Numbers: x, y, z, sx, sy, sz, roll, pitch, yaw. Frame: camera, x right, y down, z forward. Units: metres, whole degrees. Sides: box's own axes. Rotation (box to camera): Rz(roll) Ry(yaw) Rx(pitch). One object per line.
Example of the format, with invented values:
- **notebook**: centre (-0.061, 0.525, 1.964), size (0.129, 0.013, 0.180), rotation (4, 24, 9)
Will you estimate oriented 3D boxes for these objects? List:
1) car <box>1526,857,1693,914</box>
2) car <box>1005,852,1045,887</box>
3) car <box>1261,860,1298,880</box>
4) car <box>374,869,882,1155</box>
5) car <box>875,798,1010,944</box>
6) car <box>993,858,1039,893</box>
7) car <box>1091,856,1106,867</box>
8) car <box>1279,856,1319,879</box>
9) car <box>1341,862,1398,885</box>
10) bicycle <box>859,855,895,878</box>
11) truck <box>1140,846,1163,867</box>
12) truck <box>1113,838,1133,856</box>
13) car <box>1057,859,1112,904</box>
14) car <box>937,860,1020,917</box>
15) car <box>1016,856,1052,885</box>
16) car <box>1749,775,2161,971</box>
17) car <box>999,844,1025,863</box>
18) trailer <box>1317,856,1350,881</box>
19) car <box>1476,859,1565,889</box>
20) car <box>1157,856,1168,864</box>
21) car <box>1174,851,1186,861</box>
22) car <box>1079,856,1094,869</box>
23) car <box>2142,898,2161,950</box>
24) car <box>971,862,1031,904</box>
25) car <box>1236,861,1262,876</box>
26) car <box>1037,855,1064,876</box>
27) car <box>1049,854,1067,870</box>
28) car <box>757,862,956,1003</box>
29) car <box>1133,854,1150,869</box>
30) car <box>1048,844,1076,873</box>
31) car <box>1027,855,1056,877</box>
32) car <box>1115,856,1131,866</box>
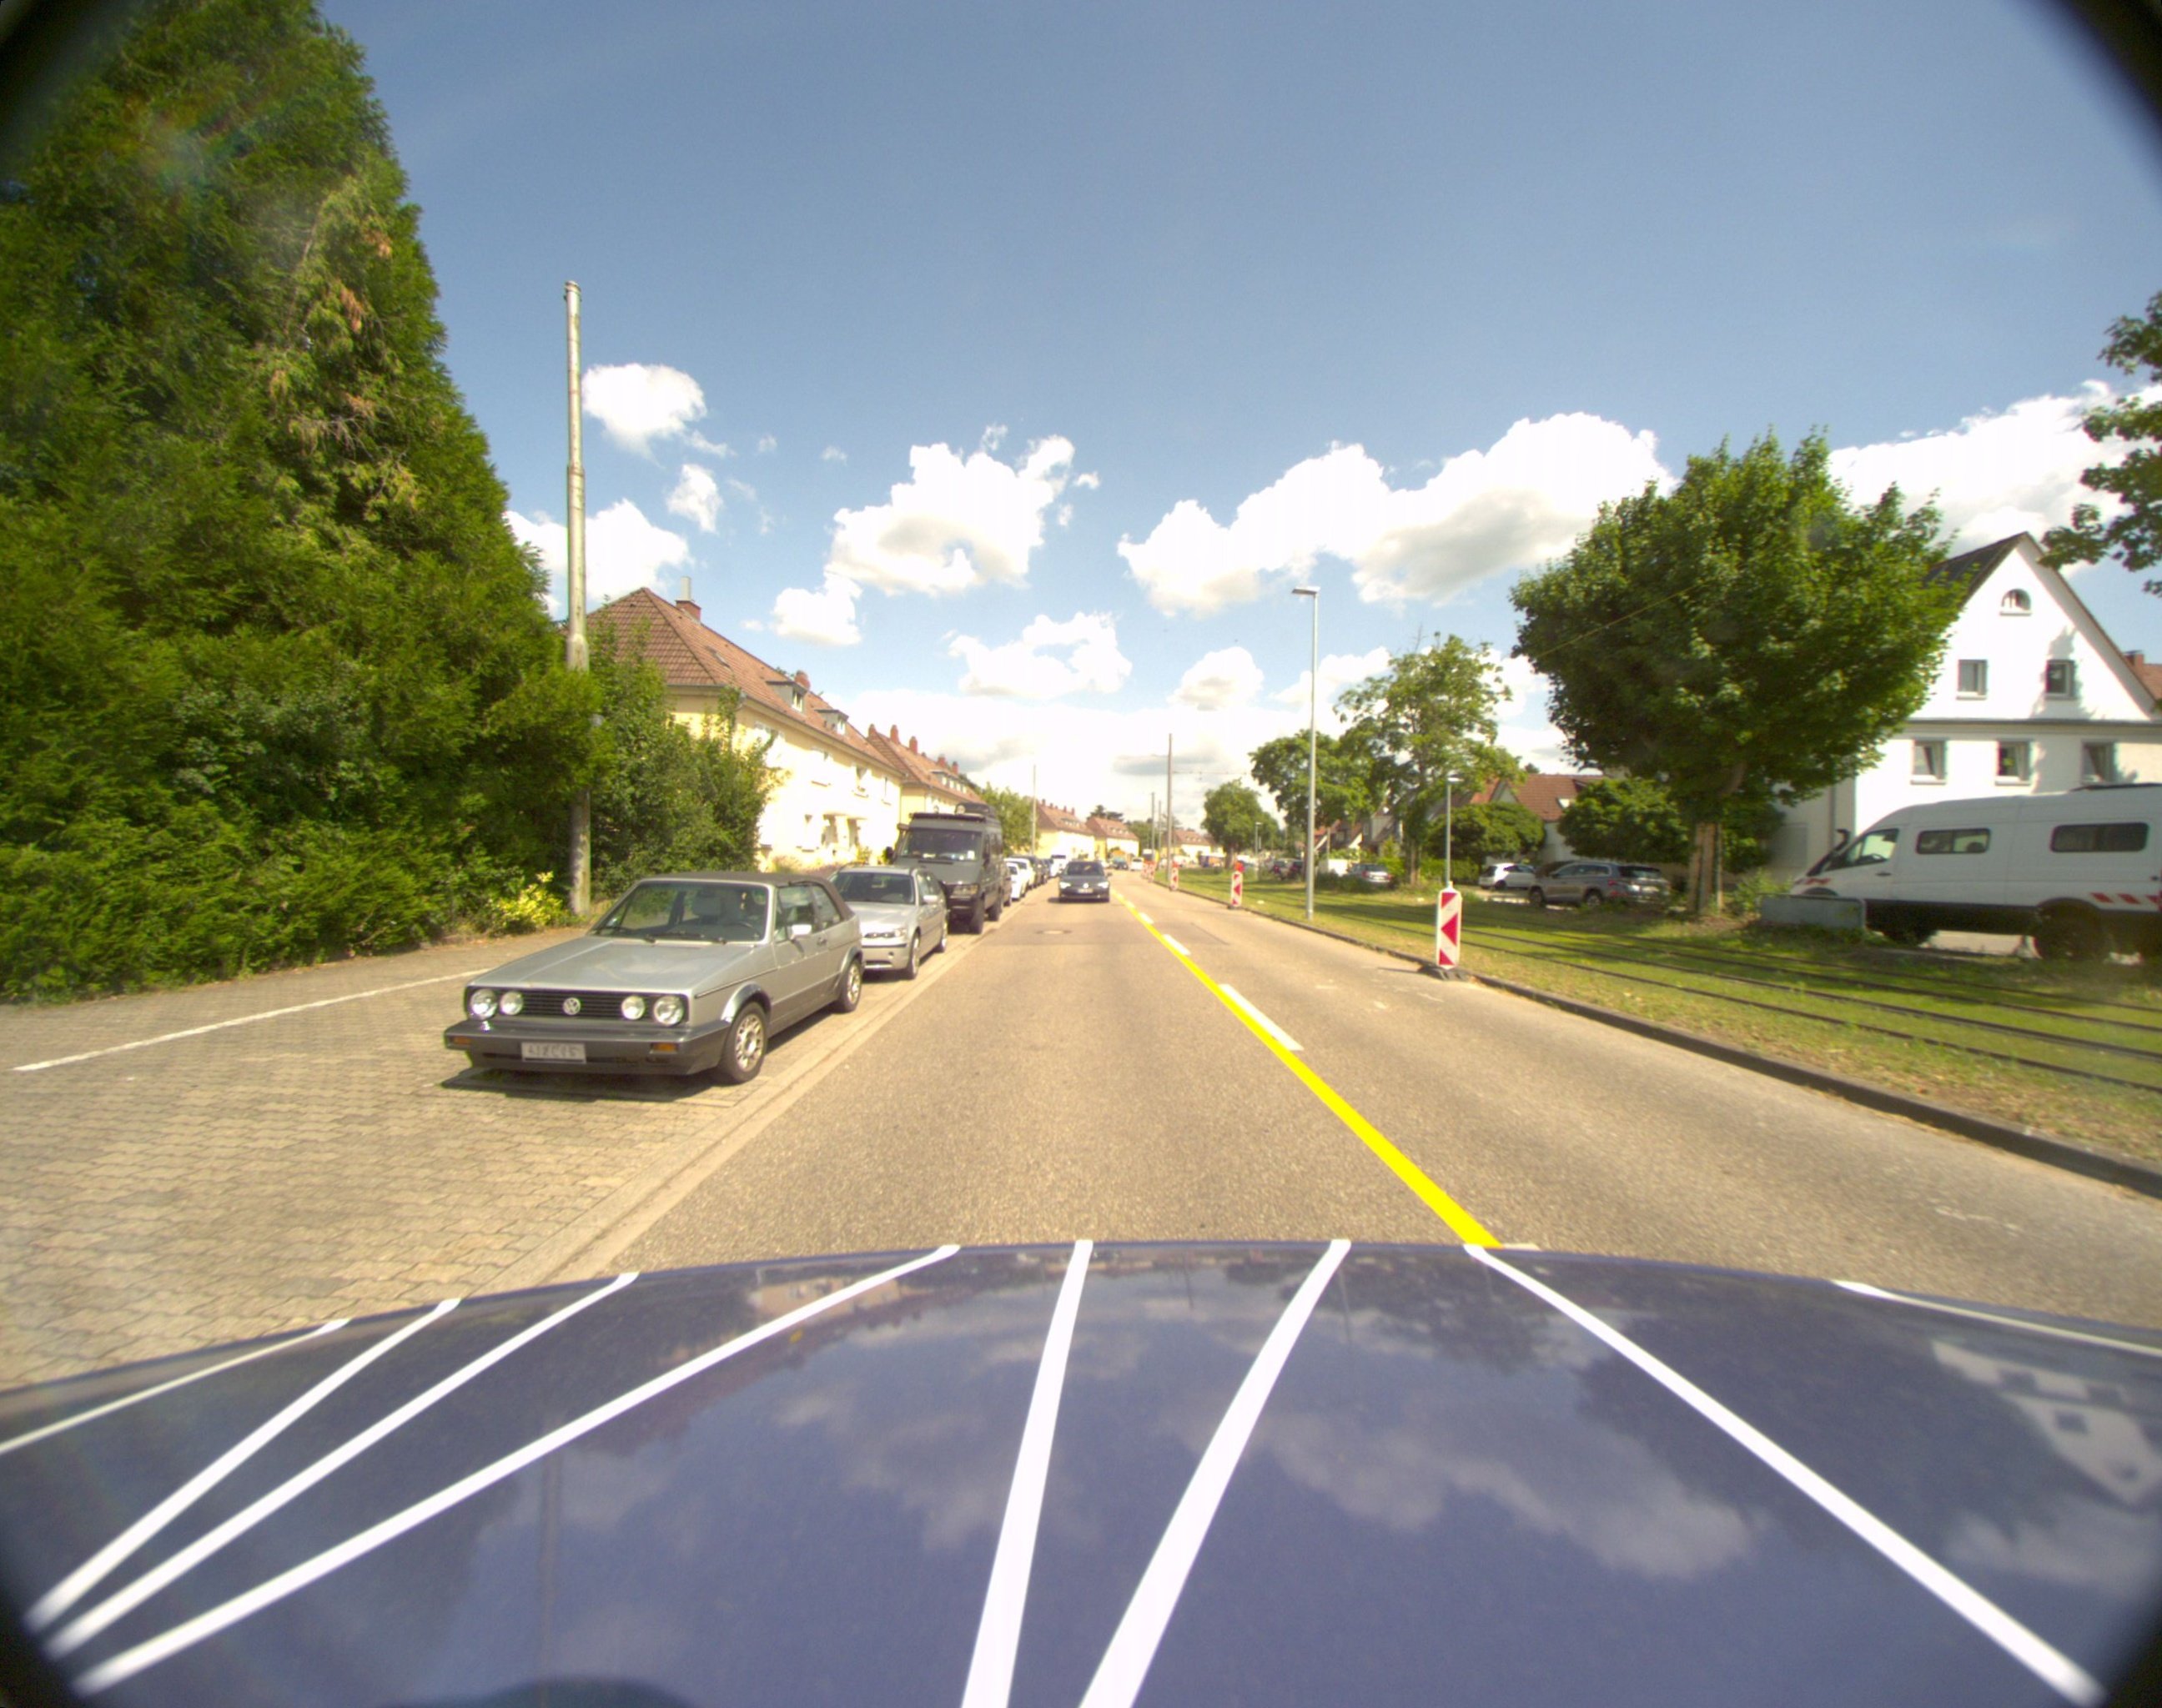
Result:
- **car**: centre (15.979, 0.882, 23.335), size (1.998, 1.497, 4.486), rotation (2, 1, 0)
- **car**: centre (-2.816, 0.730, 38.899), size (1.683, 1.620, 4.270), rotation (2, 0, 0)
- **car**: centre (16.408, 1.303, 63.069), size (1.998, 1.531, 4.322), rotation (2, 1, 1)
- **car**: centre (-3.067, 0.922, 6.277), size (1.655, 1.423, 4.096), rotation (2, 1, 1)
- **car**: centre (-2.887, 0.326, 17.010), size (2.001, 2.744, 4.878), rotation (2, 0, 0)
- **car**: centre (-2.869, 0.913, 34.248), size (1.654, 1.410, 4.026), rotation (2, 0, 1)
- **car**: centre (2.481, 1.011, 108.175), size (1.512, 1.490, 3.577), rotation (2, 0, 10)
- **car**: centre (16.587, 1.018, 58.004), size (1.910, 1.568, 4.102), rotation (4, -1, 1)
- **car**: centre (16.048, 1.067, 42.421), size (1.785, 1.087, 3.836), rotation (2, 1, 1)
- **bicycle**: centre (-10.171, 0.632, 37.940), size (1.693, 1.096, 0.290), rotation (1, 0, 0)
- **truck**: centre (11.887, 0.487, 127.372), size (2.700, 3.346, 8.058), rotation (2, 0, 12)
- **truck**: centre (7.586, -1.246, 136.133), size (2.530, 2.931, 7.866), rotation (2, 1, 9)
- **car**: centre (0.054, 0.945, 27.471), size (1.786, 1.412, 4.289), rotation (-2, 0, -2)
- **car**: centre (-2.881, 0.915, 22.402), size (1.725, 1.394, 4.837), rotation (2, 0, 0)
- **car**: centre (-2.664, 0.889, 43.883), size (1.689, 1.429, 4.515), rotation (2, 1, 0)
- **car**: centre (15.898, 0.305, 13.586), size (1.999, 2.714, 6.461), rotation (2, 0, -2)
- **car**: centre (-6.810, -0.032, 74.986), size (1.926, 1.736, 4.048), rotation (2, 0, 3)
- **trailer**: centre (15.882, 0.897, 47.890), size (1.302, 1.510, 2.282), rotation (2, 0, 0)
- **car**: centre (25.223, 1.164, 43.714), size (3.997, 1.518, 2.001), rotation (2, -2, 0)
- **car**: centre (16.124, 1.188, 150.023), size (1.512, 1.489, 3.578), rotation (2, 0, 14)
- **car**: centre (21.435, 0.497, 164.199), size (1.839, 2.043, 3.874), rotation (2, 0, 19)
- **car**: centre (0.728, 1.063, 95.880), size (1.513, 1.490, 3.408), rotation (2, 0, 6)
- **car**: centre (26.585, 1.673, 16.576), size (3.997, 1.154, 2.045), rotation (2, 1, 0)
- **car**: centre (-2.821, 0.996, 27.618), size (1.725, 1.287, 4.128), rotation (2, 0, 0)
- **car**: centre (18.057, 1.549, 81.879), size (1.998, 1.531, 4.323), rotation (2, 1, 3)
- **car**: centre (-2.270, 0.866, 58.256), size (1.756, 1.480, 4.627), rotation (2, 0, 1)
- **car**: centre (-2.018, 0.709, 66.570), size (1.358, 1.299, 3.543), rotation (2, 0, 1)
- **car**: centre (-2.953, 0.932, 10.973), size (1.696, 1.507, 4.354), rotation (2, 1, -2)
- **car**: centre (8.652, 1.100, 108.530), size (1.943, 1.931, 4.565), rotation (3, 0, 10)
- **car**: centre (-1.759, 0.427, 71.369), size (1.923, 2.522, 5.346), rotation (2, 0, 5)
- **car**: centre (-2.735, 0.793, 53.124), size (1.702, 1.421, 3.898), rotation (2, 1, 1)
- **car**: centre (6.354, 1.061, 114.554), size (1.997, 1.566, 4.003), rotation (1, 0, 9)
